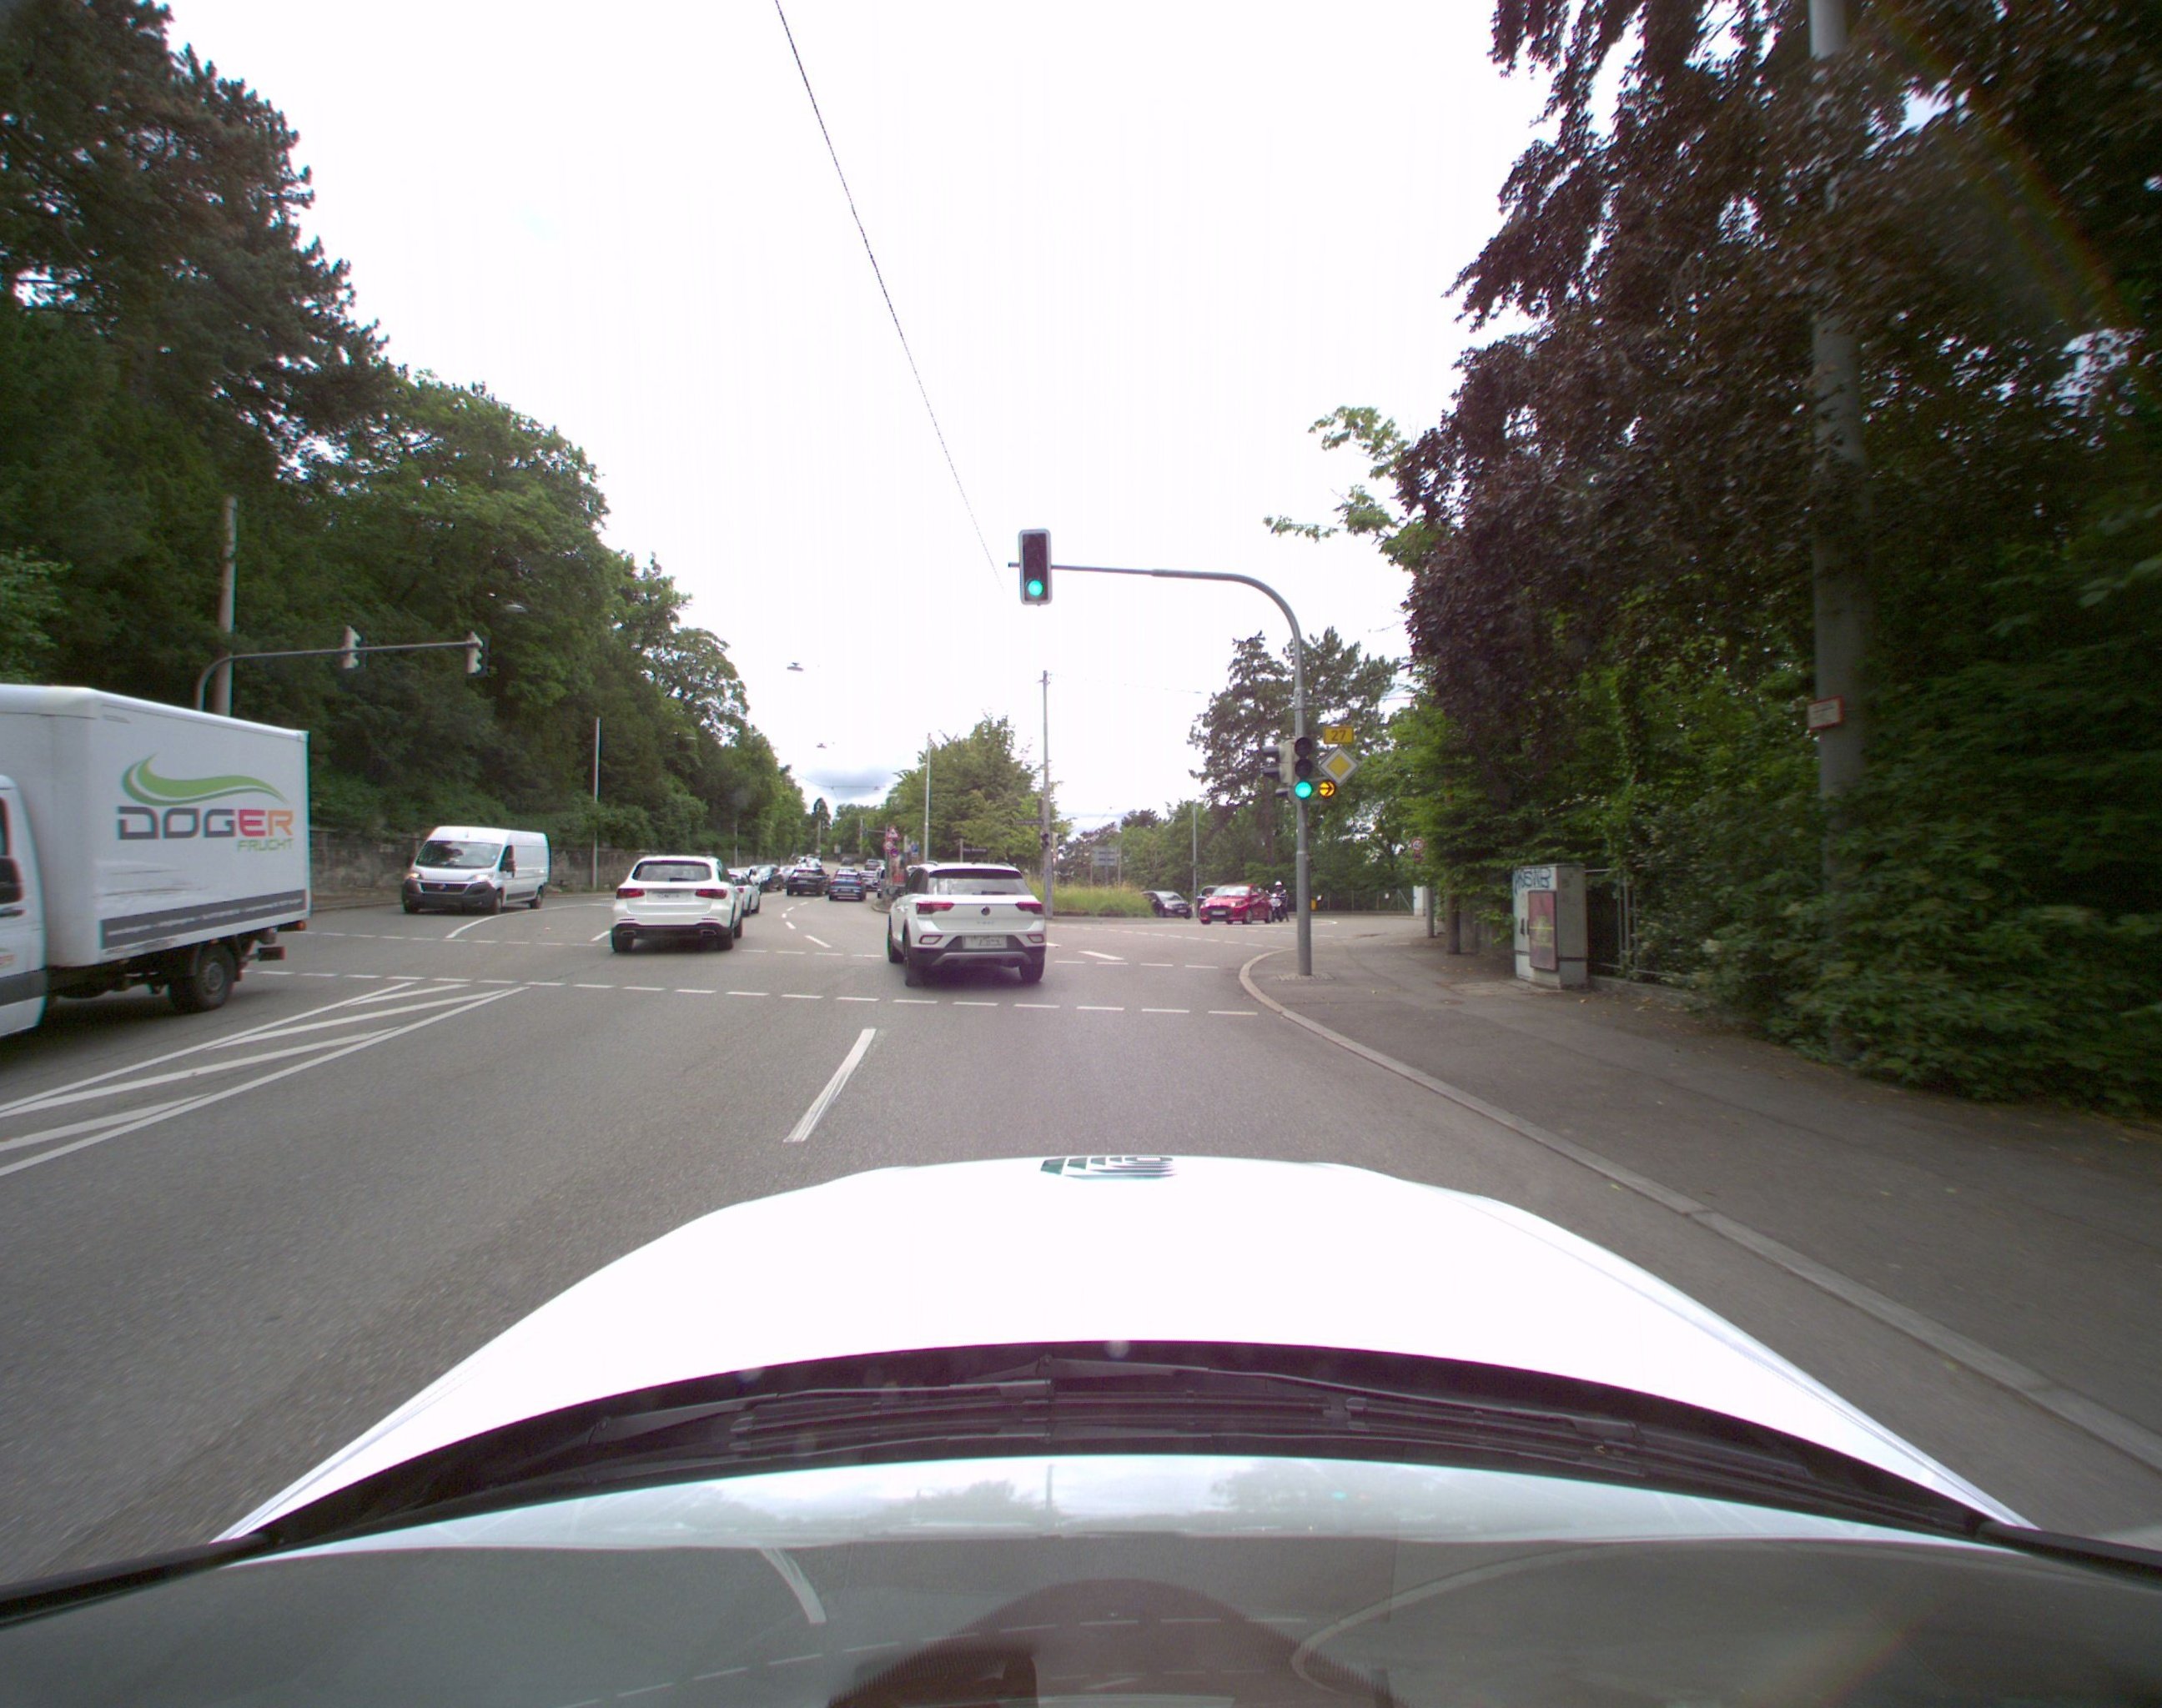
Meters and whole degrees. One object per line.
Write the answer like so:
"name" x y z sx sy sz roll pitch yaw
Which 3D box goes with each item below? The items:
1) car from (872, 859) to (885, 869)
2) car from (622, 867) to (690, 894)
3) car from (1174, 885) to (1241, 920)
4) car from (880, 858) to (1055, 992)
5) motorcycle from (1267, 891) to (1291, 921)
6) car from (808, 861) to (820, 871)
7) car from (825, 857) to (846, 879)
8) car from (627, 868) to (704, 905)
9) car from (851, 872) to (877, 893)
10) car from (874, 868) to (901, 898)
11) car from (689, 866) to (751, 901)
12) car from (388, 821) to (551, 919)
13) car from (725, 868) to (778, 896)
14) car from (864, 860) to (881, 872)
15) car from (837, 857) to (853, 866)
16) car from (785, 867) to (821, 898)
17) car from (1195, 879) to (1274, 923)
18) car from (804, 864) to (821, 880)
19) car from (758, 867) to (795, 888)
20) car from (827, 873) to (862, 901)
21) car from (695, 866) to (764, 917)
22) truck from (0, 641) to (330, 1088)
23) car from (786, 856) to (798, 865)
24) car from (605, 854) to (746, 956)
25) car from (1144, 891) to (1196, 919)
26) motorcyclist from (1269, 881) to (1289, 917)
"car" -29.722 1.469 119.732 1.651 1.451 3.525 1 -1 -17
"car" -23.520 1.462 45.259 1.634 1.406 4.061 2 -2 -2
"car" 6.357 2.493 41.460 1.815 1.677 4.657 0 -4 -12
"car" -1.835 0.884 11.822 1.759 1.553 4.310 2 -1 -18
"motorcycle" 8.093 2.127 33.285 0.593 1.152 1.590 -3 -3 26
"car" -38.831 1.759 118.465 1.651 1.451 3.524 1 0 -18
"car" -20.850 1.188 69.126 1.638 1.820 3.975 -1 -1 -18
"car" -17.645 1.357 34.840 1.757 1.442 4.460 3 -2 -12
"car" -15.486 2.013 58.241 1.687 1.424 3.691 1 -1 -14
"car" -11.605 1.710 48.942 1.496 1.749 3.104 1 -1 -12
"car" -18.534 1.530 42.023 1.995 1.637 4.377 3 -2 -13
"car" -17.529 0.489 23.773 2.000 2.413 5.856 4 -2 -20
"car" -19.848 1.692 49.288 1.892 1.567 4.465 3 -2 -9
"car" -27.116 1.553 105.863 1.654 1.451 3.518 1 -1 -23
"car" -40.157 1.269 138.288 1.658 1.451 3.510 2 -1 -32
"car" -16.500 1.669 48.449 1.792 1.636 3.715 2 0 -17
"car" 5.647 1.733 29.604 1.651 1.468 3.978 -3 -5 28
"car" -33.761 2.241 102.378 1.736 2.014 3.912 1 -1 -15
"car" -22.170 1.683 59.472 1.818 1.440 4.047 2 -1 -10
"car" -12.992 1.779 44.935 1.630 1.420 3.836 2 -2 -14
"car" -11.603 1.222 27.069 1.872 1.534 4.741 2 -3 -22
"truck" -9.238 0.081 6.699 2.412 3.088 6.295 -2 1 -23
"car" -62.179 1.372 174.942 1.759 1.786 3.962 1 -1 -29
"car" -7.370 0.868 15.246 1.865 1.606 4.638 1 -2 -21
"car" 5.018 2.931 46.506 1.718 1.486 3.980 0 -4 -13
"motorcyclist" 8.123 1.842 33.375 0.594 1.430 0.761 -3 -3 26
